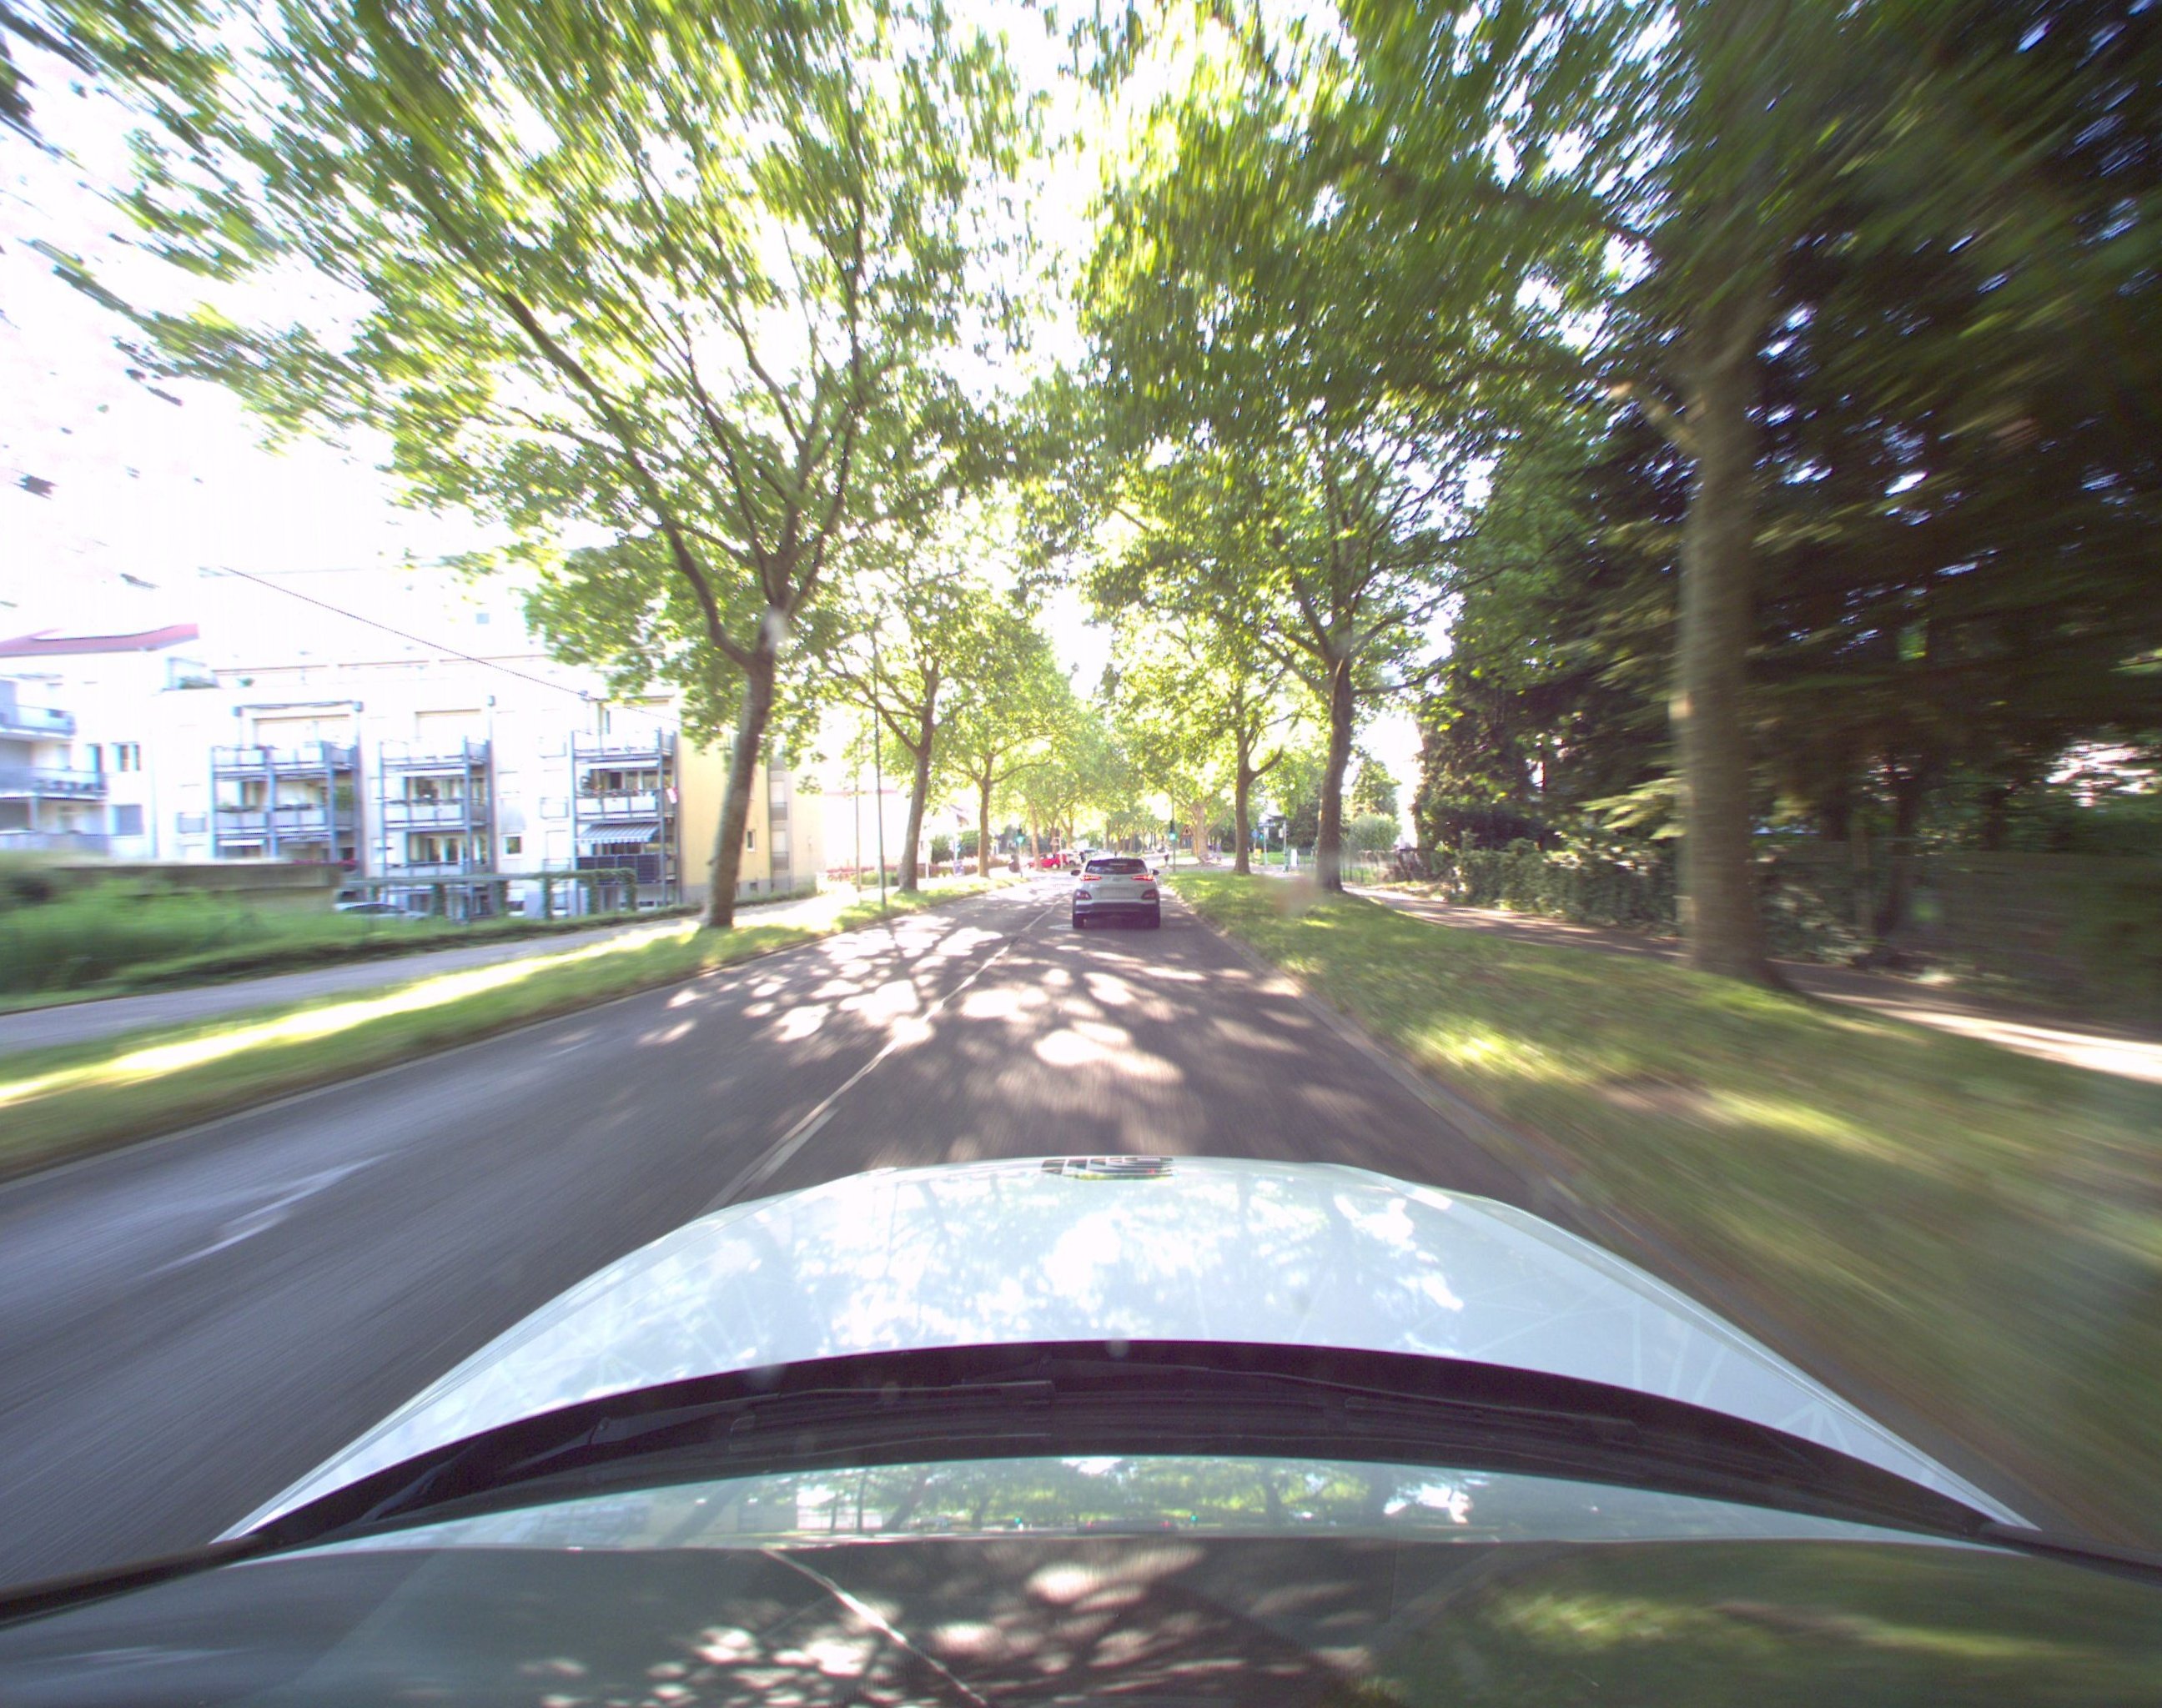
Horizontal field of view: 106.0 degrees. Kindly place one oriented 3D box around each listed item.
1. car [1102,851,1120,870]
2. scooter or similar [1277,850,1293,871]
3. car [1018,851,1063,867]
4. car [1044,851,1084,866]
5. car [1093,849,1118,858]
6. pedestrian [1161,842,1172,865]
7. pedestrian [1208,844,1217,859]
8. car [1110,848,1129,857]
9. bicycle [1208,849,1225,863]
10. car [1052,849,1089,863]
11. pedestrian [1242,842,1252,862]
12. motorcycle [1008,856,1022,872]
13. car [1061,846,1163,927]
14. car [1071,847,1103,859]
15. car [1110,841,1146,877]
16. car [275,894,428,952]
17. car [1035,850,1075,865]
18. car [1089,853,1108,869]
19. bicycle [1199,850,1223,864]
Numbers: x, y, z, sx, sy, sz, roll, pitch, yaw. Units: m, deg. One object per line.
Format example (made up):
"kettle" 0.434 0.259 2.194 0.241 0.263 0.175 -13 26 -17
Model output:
"car" 3.174 0.680 86.323 1.784 1.882 4.003 -1 0 3
"scooter or similar" 12.767 0.414 51.017 0.547 1.258 2.316 -1 0 4
"car" -3.793 0.456 76.692 3.969 1.478 2.002 -1 0 3
"car" -1.800 0.461 86.503 3.968 1.478 2.003 -1 0 5
"car" 3.932 -0.069 129.914 3.969 1.478 2.002 -1 0 3
"pedestrian" 7.521 -0.011 71.277 0.862 2.014 0.816 -1 -1 11
"pedestrian" 17.501 -0.349 108.163 1.088 2.013 1.108 -1 0 10
"car" 7.898 -0.308 167.679 3.664 1.808 1.745 -1 0 -6
"bicycle" 11.698 0.214 70.369 0.604 1.183 2.107 -1 0 -16
"car" -1.175 0.249 90.644 3.969 1.478 2.002 -1 0 3
"pedestrian" 14.579 -0.139 71.339 0.828 1.736 0.888 -1 -1 12
"motorcycle" -5.820 0.885 72.248 0.842 1.378 2.778 -1 0 3
"car" 0.718 0.654 18.170 1.985 1.574 4.003 -1 0 3
"car" 0.804 -0.174 105.723 3.969 1.478 2.002 -1 0 3
"car" 2.759 0.283 48.836 1.986 2.013 4.001 -1 0 1
"car" -26.412 2.453 29.688 1.988 1.713 3.998 -1 1 -1
"car" -2.677 0.403 84.174 3.969 1.478 2.002 -1 0 3
"car" 1.688 0.614 77.685 1.681 1.437 3.686 -1 1 4
"bicycle" 11.069 0.271 69.179 0.608 1.164 2.125 0 -1 -40
